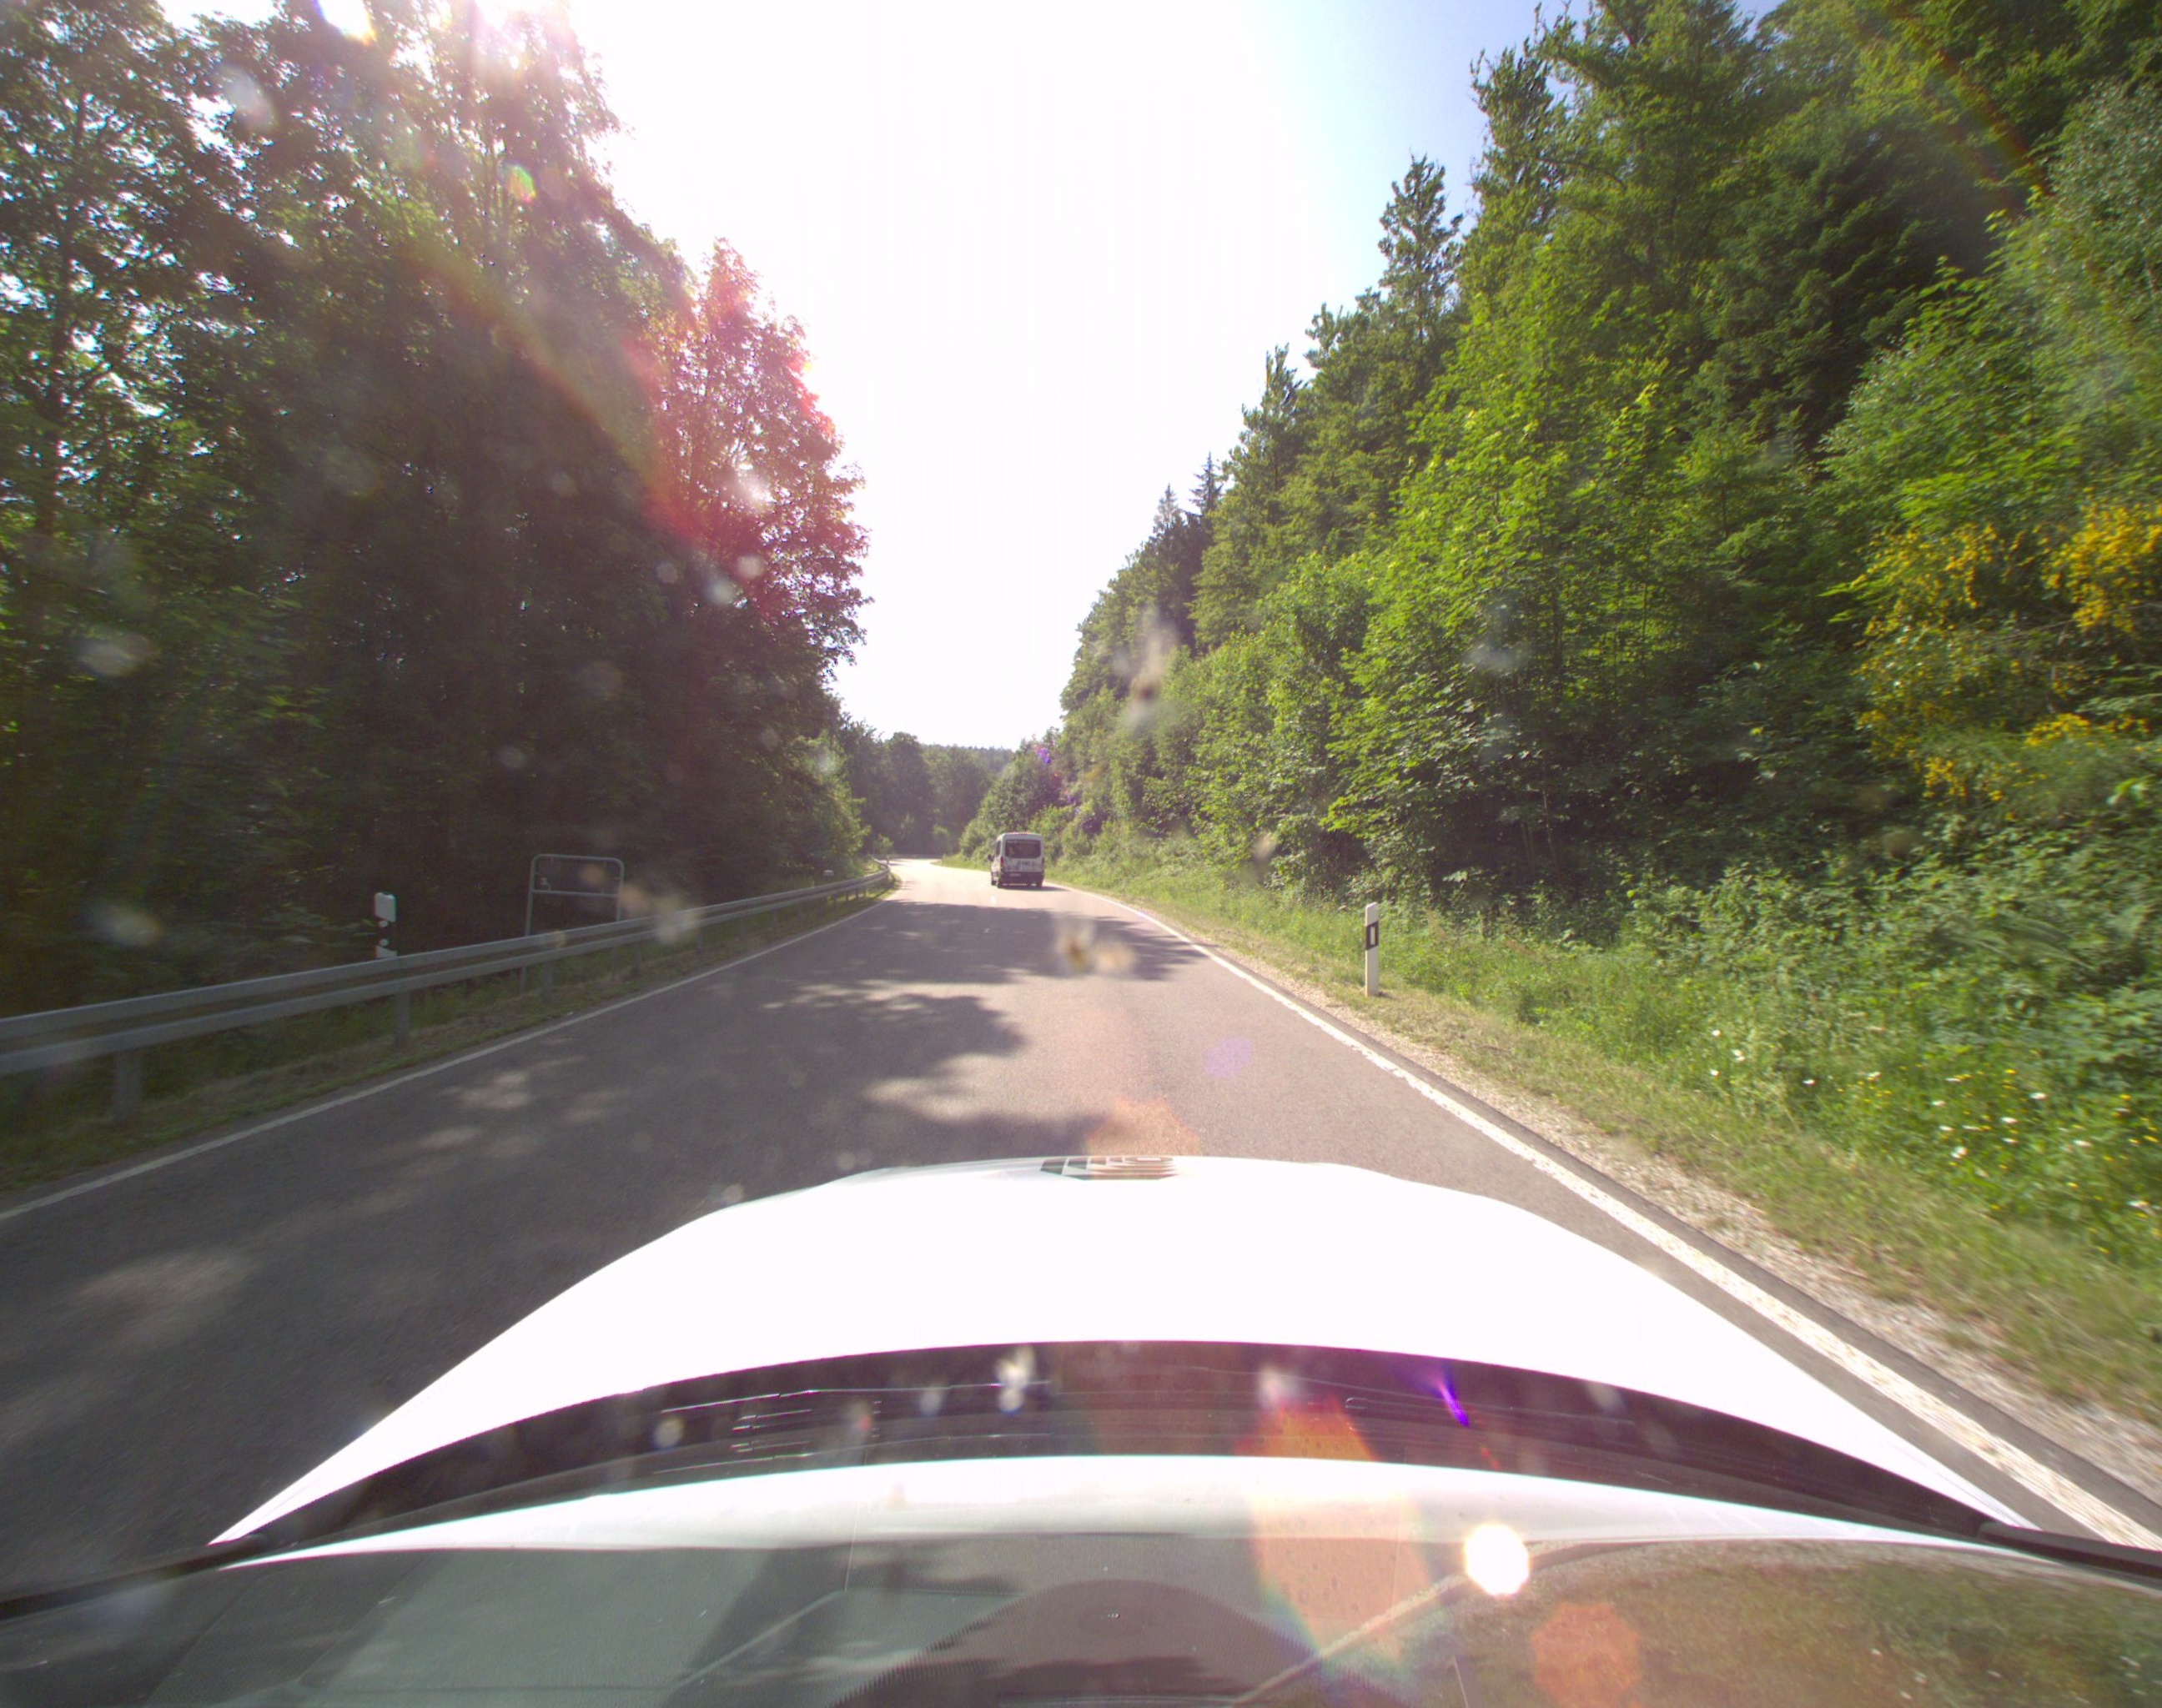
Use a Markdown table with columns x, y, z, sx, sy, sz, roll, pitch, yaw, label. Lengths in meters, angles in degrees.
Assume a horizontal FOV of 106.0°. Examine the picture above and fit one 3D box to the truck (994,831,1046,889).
| x | y | z | sx | sy | sz | roll | pitch | yaw | label |
| --- | --- | --- | --- | --- | --- | --- | --- | --- | --- |
| -2.931 | 0.249 | 37.998 | 2.114 | 2.498 | 5.344 | 0 | 0 | -8 | truck |
